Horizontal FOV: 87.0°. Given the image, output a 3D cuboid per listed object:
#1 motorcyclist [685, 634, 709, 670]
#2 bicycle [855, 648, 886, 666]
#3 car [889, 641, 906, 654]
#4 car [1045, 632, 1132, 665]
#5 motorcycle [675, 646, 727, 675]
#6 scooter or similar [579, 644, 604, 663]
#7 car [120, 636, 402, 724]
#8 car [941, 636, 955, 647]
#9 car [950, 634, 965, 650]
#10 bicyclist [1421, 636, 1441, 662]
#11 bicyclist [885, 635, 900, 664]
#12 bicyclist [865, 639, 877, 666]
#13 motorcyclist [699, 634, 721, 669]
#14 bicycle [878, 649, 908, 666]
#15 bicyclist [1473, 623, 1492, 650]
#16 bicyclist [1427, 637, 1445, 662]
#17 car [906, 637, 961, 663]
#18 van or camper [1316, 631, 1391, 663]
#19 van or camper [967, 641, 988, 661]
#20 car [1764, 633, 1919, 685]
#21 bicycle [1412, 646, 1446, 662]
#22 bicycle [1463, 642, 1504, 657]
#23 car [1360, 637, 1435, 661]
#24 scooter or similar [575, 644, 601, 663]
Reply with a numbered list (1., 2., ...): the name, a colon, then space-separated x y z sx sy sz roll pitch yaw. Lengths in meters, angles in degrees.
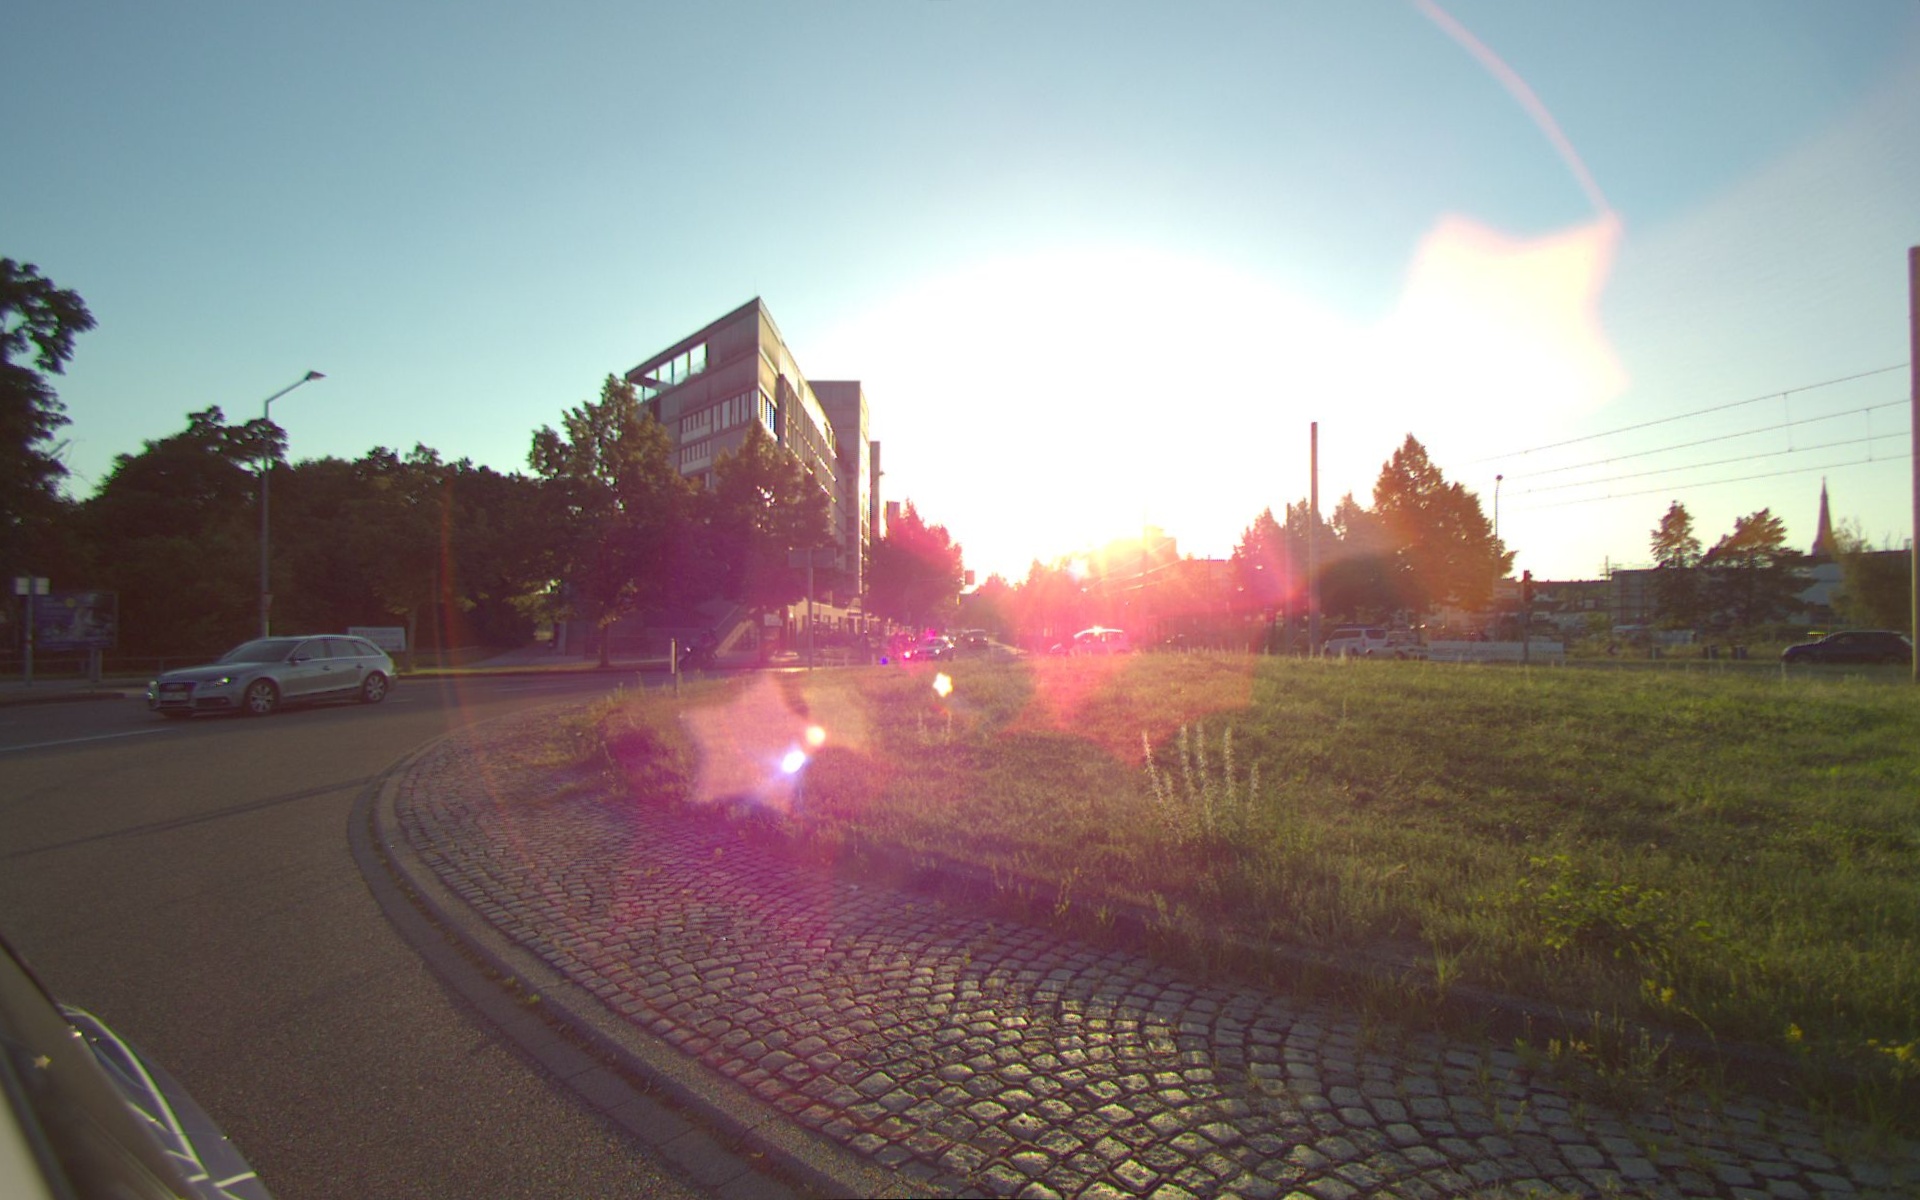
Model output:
1. motorcyclist: -10.618 2.097 40.828 0.636 1.427 0.705 -2 -2 40
2. bicycle: -5.408 3.453 61.305 1.833 1.030 0.308 0 -3 -10
3. car: -7.023 5.357 114.322 1.777 1.475 4.000 0 -2 -1
4. car: 5.906 2.236 46.630 3.651 1.477 1.609 0 -3 -9
5. motorcycle: -10.476 2.421 40.958 0.557 1.109 2.131 -2 -2 39
6. scooter or similar: -23.636 3.426 64.883 1.559 1.229 0.365 -1 -3 10
7. car: -12.747 1.400 18.869 1.782 1.434 4.437 -1 -2 8
8. car: -1.689 5.788 140.288 1.777 1.475 4.000 0 -2 -1
9. car: -0.365 5.347 129.413 1.694 1.852 4.003 -1 -1 -3
10. bicyclist: 29.478 3.054 63.324 0.804 1.653 0.814 -1 -3 3
11. bicyclist: -4.202 3.073 63.020 0.839 1.769 0.802 -1 -3 6
12. bicyclist: -5.415 3.182 61.503 0.673 1.661 0.685 0 -3 -10
13. motorcyclist: -10.205 2.100 41.330 0.636 1.419 0.586 -2 -2 39
14. bicycle: -4.182 3.573 63.276 1.841 1.030 0.437 -1 -3 7
15. bicyclist: 31.728 2.226 61.477 0.685 1.646 0.799 2 -4 -41
16. bicyclist: 29.377 3.044 62.463 0.804 1.517 0.592 -1 -3 3
17. car: -1.495 2.915 59.531 1.879 1.492 4.023 -1 -2 20
18. van or camper: 25.480 3.078 65.783 1.883 2.025 5.314 0 -3 -12
19. van or camper: 1.893 5.381 107.123 1.975 1.972 5.321 -1 -2 4
20. car: 32.085 2.093 36.440 1.724 1.761 4.604 2 -3 -40
21. bicycle: 29.333 3.364 63.315 1.819 0.988 0.549 -1 -3 3
22. bicycle: 31.809 3.002 61.543 0.504 0.852 2.138 2 -3 -41
23. car: 24.586 2.741 57.023 1.552 1.265 3.793 -1 -2 -23
24. scooter or similar: -23.695 3.412 64.436 1.559 1.229 0.365 -1 -3 10
